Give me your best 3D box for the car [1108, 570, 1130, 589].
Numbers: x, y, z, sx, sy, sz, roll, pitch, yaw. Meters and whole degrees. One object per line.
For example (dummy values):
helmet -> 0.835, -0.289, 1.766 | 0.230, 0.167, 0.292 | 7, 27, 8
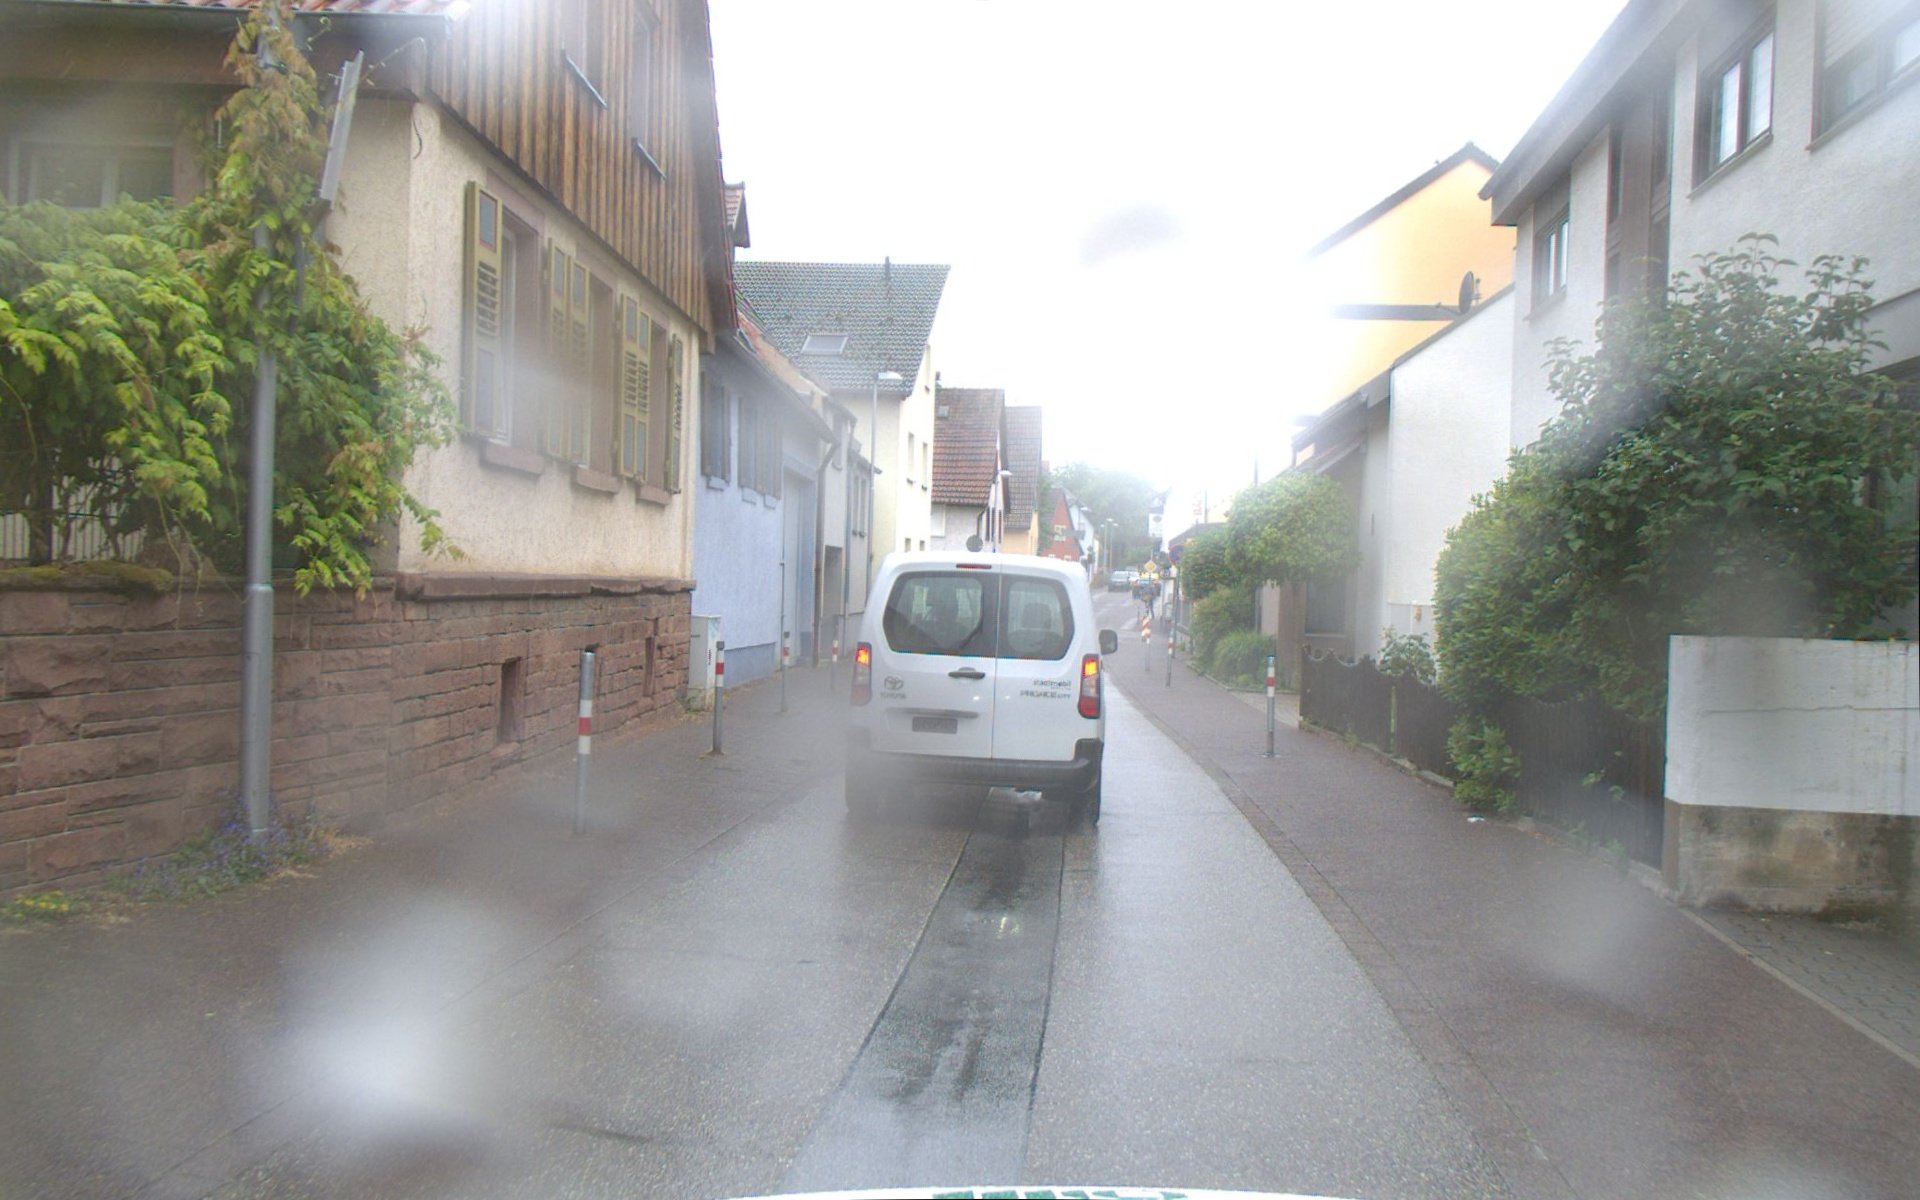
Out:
car -> 13.969, -1.789, 145.287 | 1.555, 1.466, 3.769 | 3, 0, 11

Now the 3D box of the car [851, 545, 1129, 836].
car -> 0.311, 0.576, 12.470 | 1.737, 1.811, 4.002 | 1, 0, 4

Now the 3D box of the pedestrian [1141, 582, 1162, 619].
pedestrian -> 10.086, 0.037, 86.962 | 1.028, 1.926, 0.878 | 1, 0, 3

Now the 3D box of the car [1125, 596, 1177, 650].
car -> 7.557, 0.886, 65.325 | 1.951, 2.049, 4.003 | 1, 0, 7

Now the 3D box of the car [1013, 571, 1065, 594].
car -> 5.828, -1.301, 122.090 | 3.369, 1.586, 1.989 | -2, 2, -20
